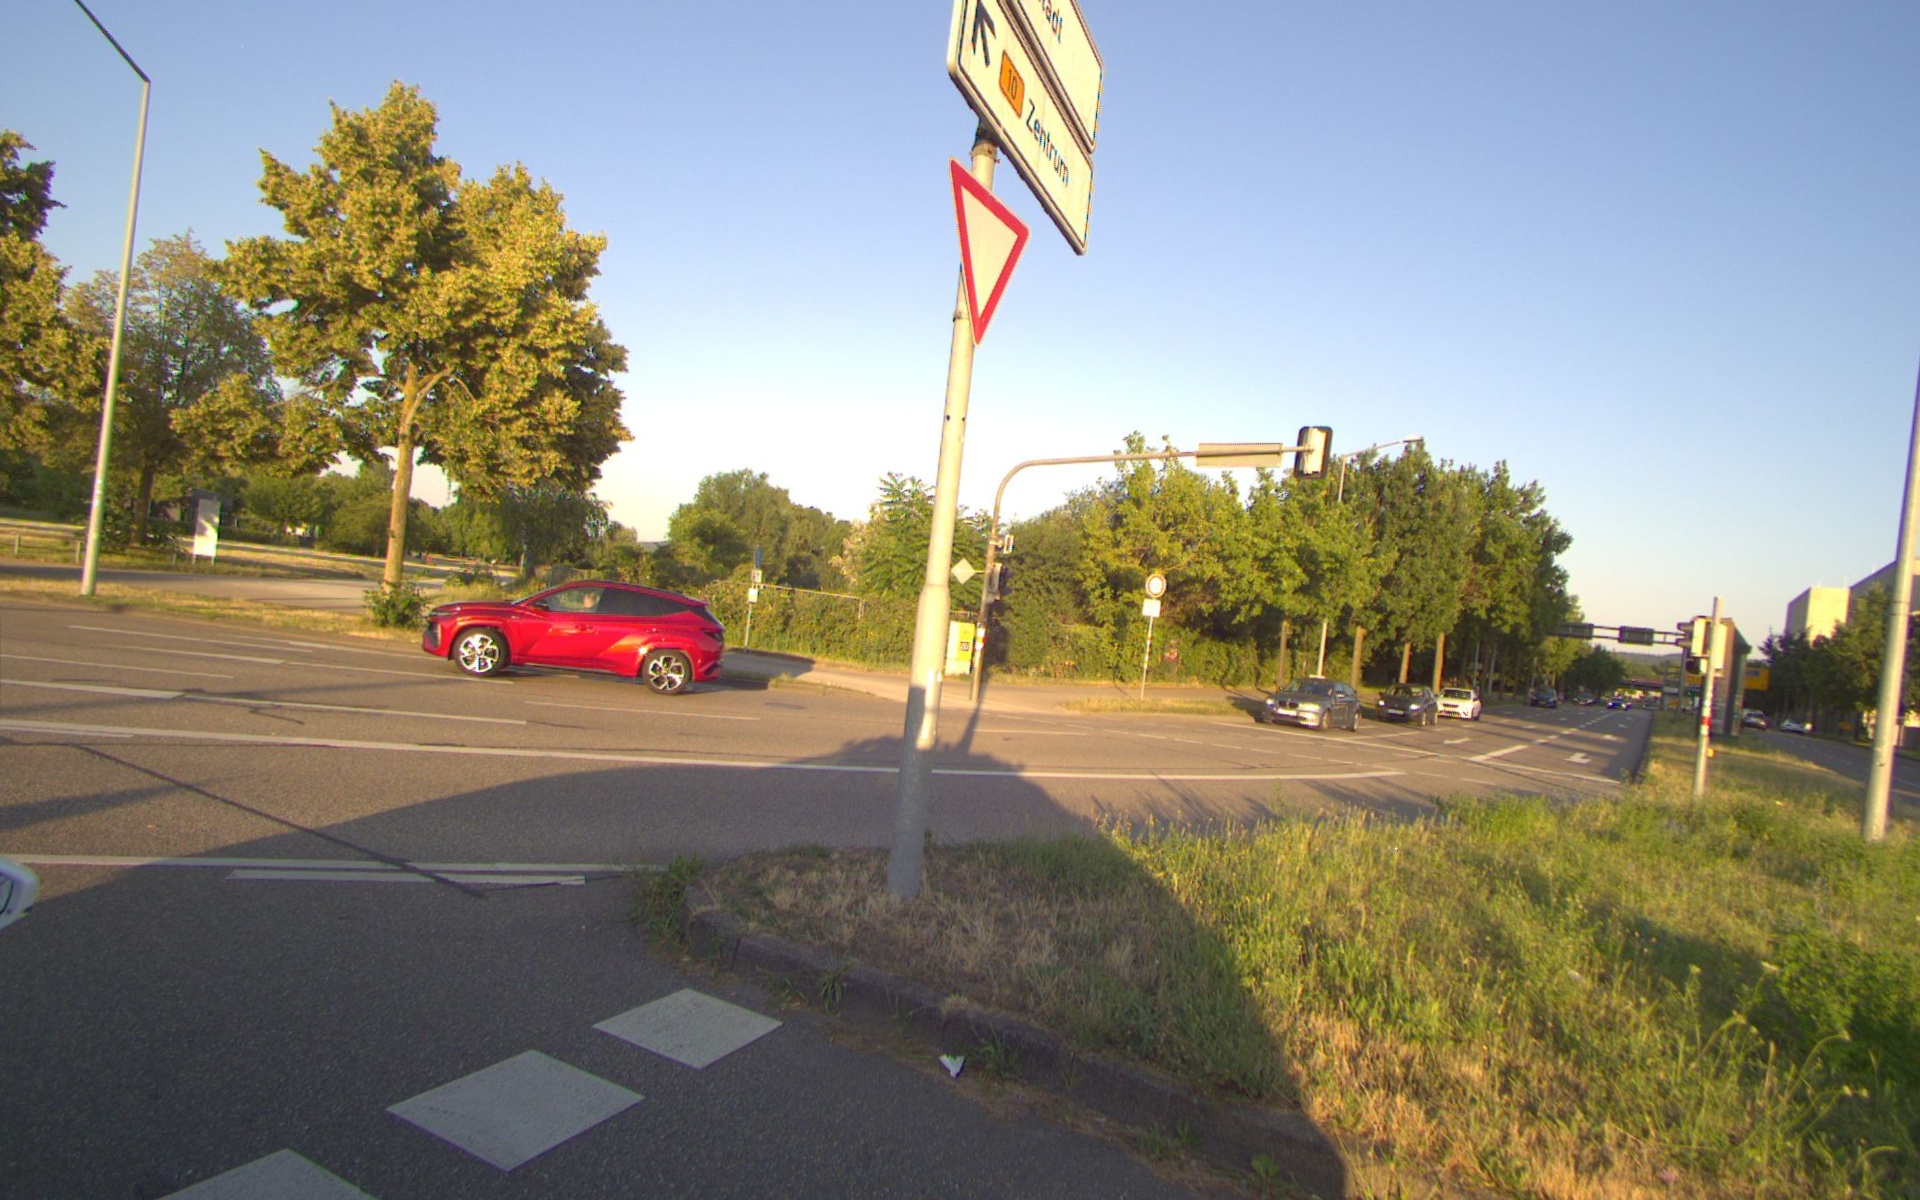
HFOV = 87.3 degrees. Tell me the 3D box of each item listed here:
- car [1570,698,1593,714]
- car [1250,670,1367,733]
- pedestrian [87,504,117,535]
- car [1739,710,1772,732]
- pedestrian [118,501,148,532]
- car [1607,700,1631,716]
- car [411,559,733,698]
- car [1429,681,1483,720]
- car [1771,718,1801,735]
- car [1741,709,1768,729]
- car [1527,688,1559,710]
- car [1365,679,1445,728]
[{"bbox_3d":[71.330,12.208,115.449,1.968,1.523,4.611,7,-1,33],"label":"car"},{"bbox_3d":[9.775,2.828,28.043,1.839,1.406,4.150,6,-2,36],"label":"car"},{"bbox_3d":[-51.816,-4.862,60.758,0.896,1.637,1.070,7,0,34],"label":"pedestrian"},{"bbox_3d":[71.852,10.889,90.939,1.969,1.648,3.989,7,-1,35],"label":"car"},{"bbox_3d":[-50.076,-5.056,60.925,0.896,1.637,1.070,7,0,34],"label":"pedestrian"},{"bbox_3d":[73.870,12.120,112.789,1.969,1.523,4.758,7,-1,35],"label":"car"},{"bbox_3d":[-6.017,0.450,15.992,4.354,1.592,1.991,7,-1,-20],"label":"car"},{"bbox_3d":[23.228,4.681,47.036,1.836,1.471,3.965,7,0,30],"label":"car"},{"bbox_3d":[88.026,13.431,107.303,1.968,1.444,4.188,7,-1,35],"label":"car"},{"bbox_3d":[90.266,13.495,114.369,2.037,1.970,4.945,7,-1,37],"label":"car"},{"bbox_3d":[48.991,8.326,84.506,1.885,1.602,4.170,7,-1,35],"label":"car"},{"bbox_3d":[16.522,3.817,37.264,1.838,1.471,4.152,7,-1,35],"label":"car"}]
